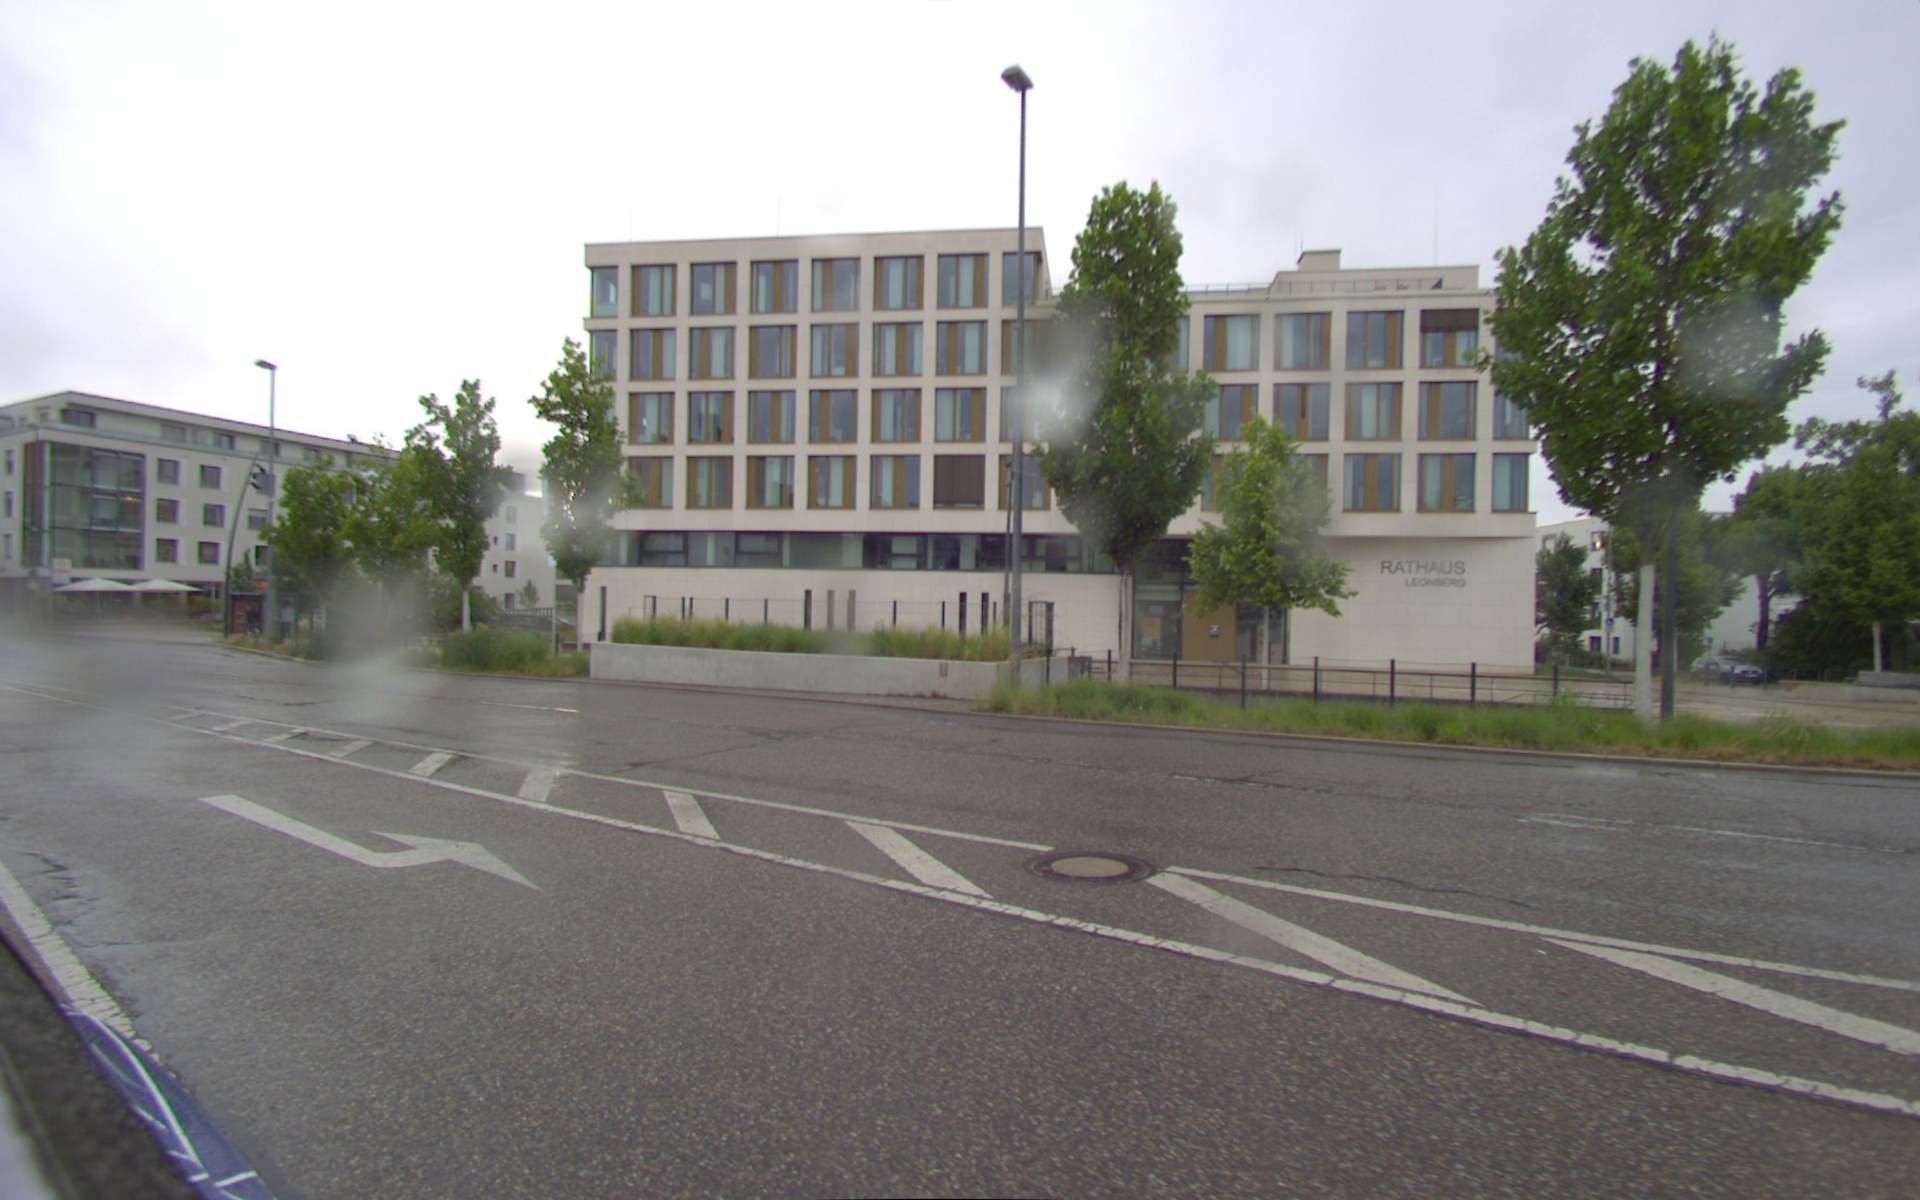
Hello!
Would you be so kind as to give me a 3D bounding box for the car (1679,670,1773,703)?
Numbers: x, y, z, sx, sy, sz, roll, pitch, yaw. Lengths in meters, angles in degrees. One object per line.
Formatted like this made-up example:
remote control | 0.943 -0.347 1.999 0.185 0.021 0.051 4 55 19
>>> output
car | 38.974 4.379 51.597 1.563 1.478 4.002 0 -2 -3
